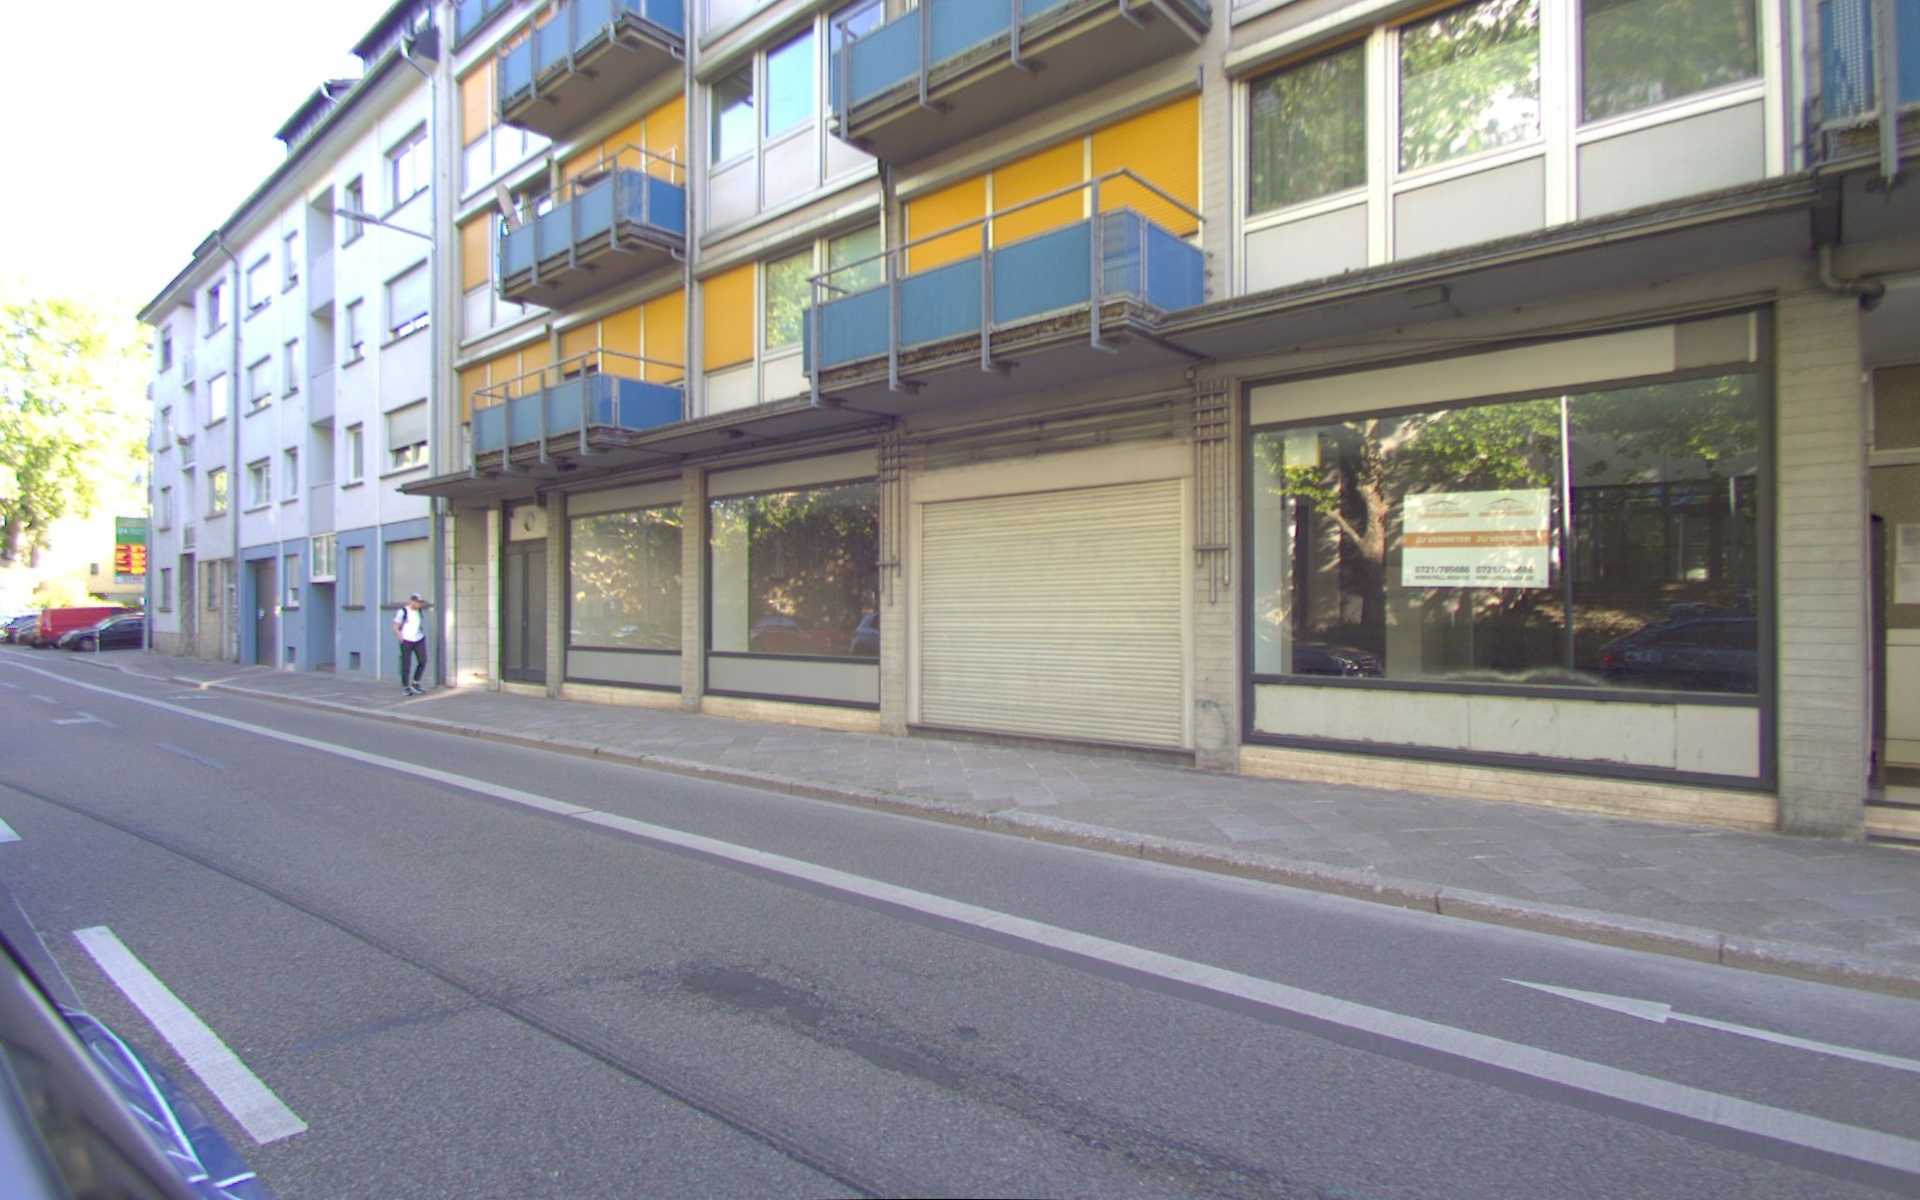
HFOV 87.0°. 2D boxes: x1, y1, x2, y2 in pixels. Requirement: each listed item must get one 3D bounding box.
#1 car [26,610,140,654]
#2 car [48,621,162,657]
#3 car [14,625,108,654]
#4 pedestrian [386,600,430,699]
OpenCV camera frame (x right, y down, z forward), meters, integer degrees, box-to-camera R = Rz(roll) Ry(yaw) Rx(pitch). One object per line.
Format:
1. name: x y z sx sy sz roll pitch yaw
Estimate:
1. car: -41.626 1.484 48.111 1.635 1.937 3.878 -1 0 41
2. car: -37.639 1.684 44.594 1.635 1.422 3.623 -1 0 41
3. car: -43.930 1.897 49.497 1.294 1.258 3.283 -1 0 41
4. pedestrian: -9.871 0.871 18.112 0.343 1.739 0.562 -1 0 41
